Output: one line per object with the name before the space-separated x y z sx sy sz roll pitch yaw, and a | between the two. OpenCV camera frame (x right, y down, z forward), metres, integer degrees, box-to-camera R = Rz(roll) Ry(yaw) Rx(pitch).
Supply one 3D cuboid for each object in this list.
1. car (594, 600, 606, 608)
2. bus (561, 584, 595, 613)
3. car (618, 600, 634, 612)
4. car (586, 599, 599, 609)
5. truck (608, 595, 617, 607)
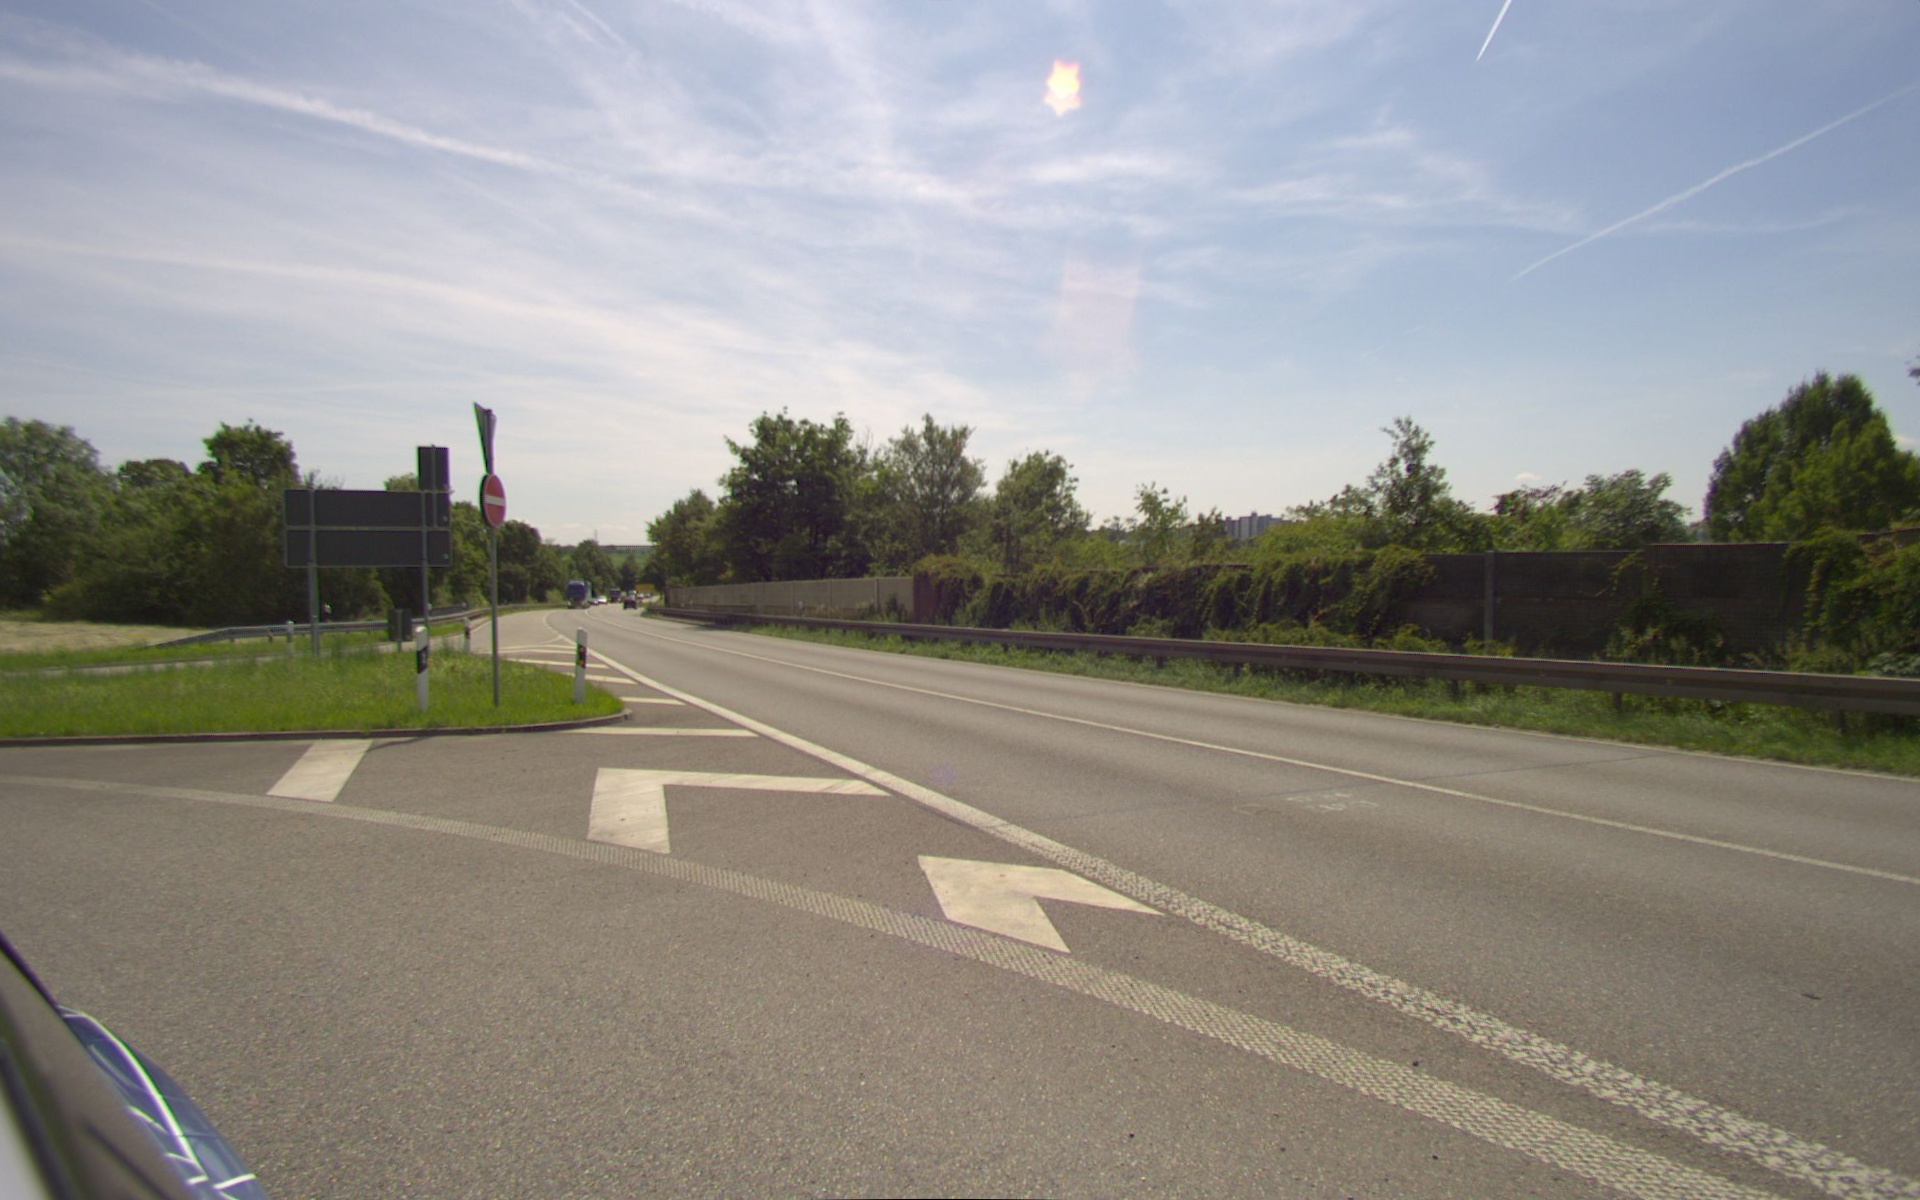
car | -73.312 0.838 206.034 1.966 1.658 4.011 -1 0 -15
bus | -56.062 -0.279 148.788 3.297 4.100 10.540 0 0 -13
car | -46.246 0.809 140.172 1.726 1.550 4.118 -2 1 -14
car | -67.619 0.726 186.250 1.966 1.654 4.011 0 0 -15
truck | -79.311 0.250 231.039 1.966 2.619 5.838 -1 0 -18
